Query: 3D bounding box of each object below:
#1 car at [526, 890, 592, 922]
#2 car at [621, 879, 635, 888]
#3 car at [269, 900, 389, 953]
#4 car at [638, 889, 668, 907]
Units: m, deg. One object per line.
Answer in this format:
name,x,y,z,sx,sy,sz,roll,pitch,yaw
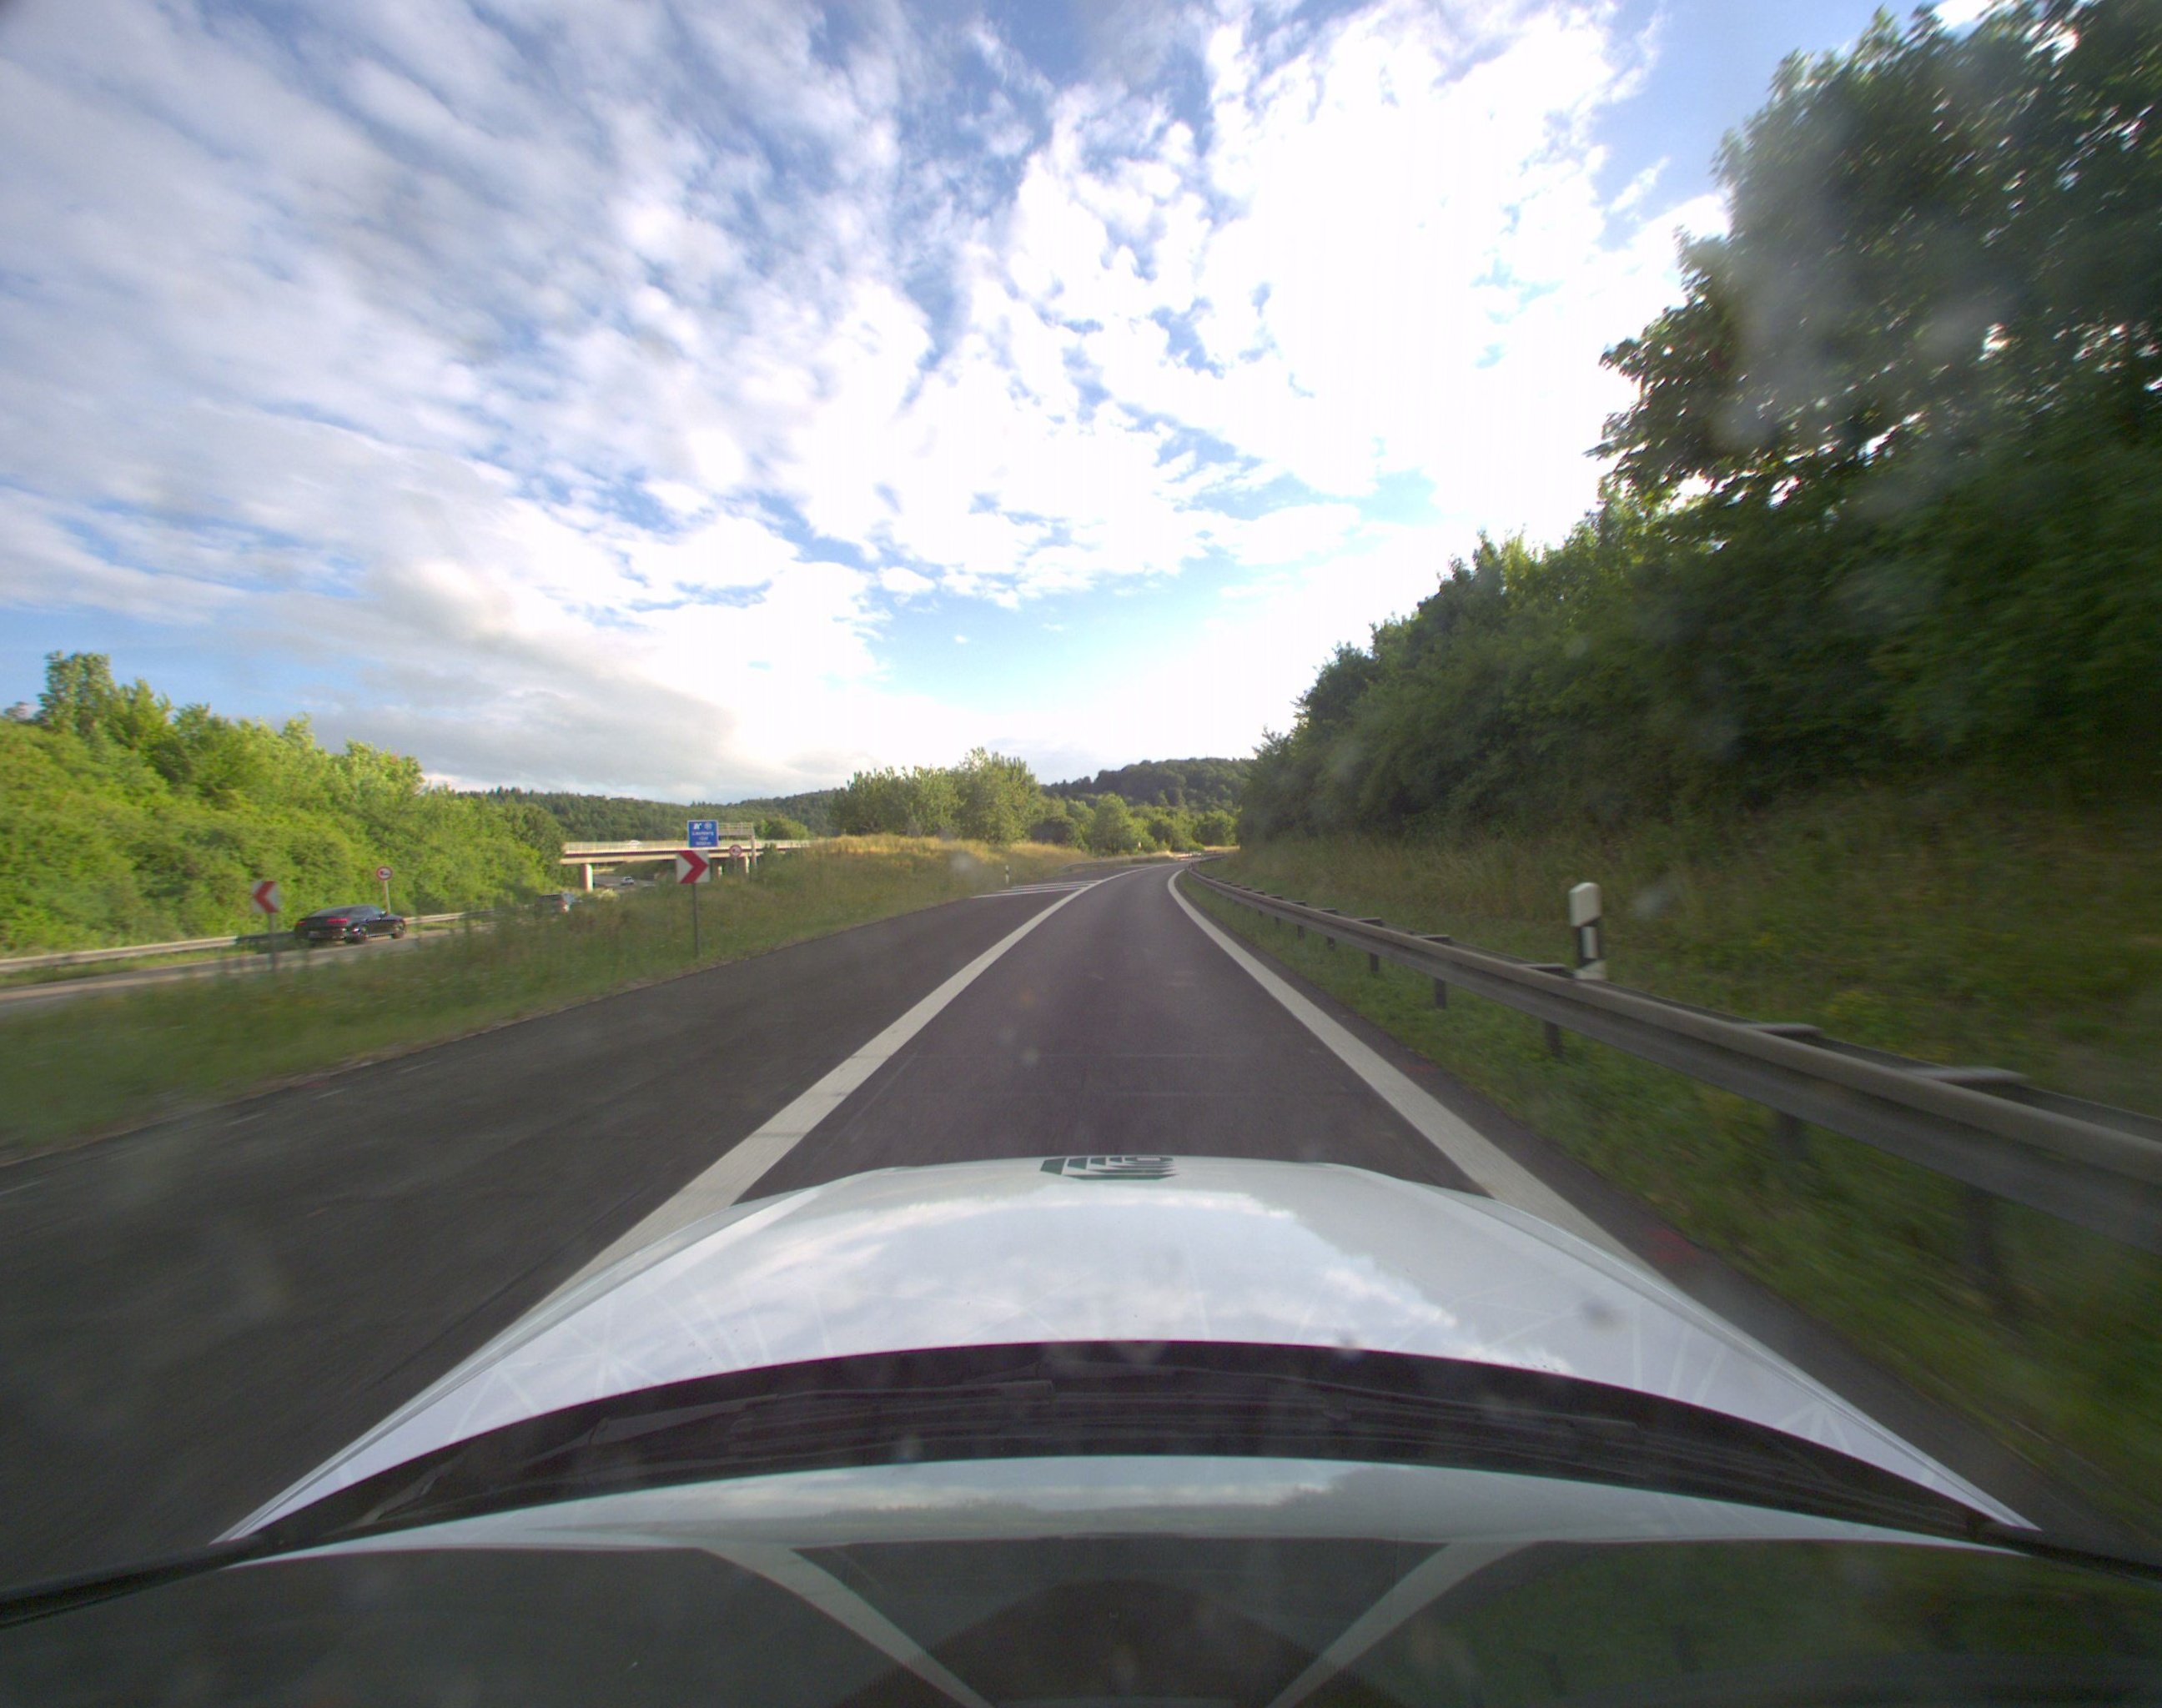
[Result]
car,-29.057,2.863,45.489,1.739,1.466,3.771,-6,0,-12
car,-88.661,5.767,159.413,1.744,1.466,3.611,-4,-1,-22
car,-29.708,2.798,32.350,1.837,1.635,3.976,-5,0,-17
car,-40.081,4.078,76.299,1.607,1.466,3.509,-5,0,-15
